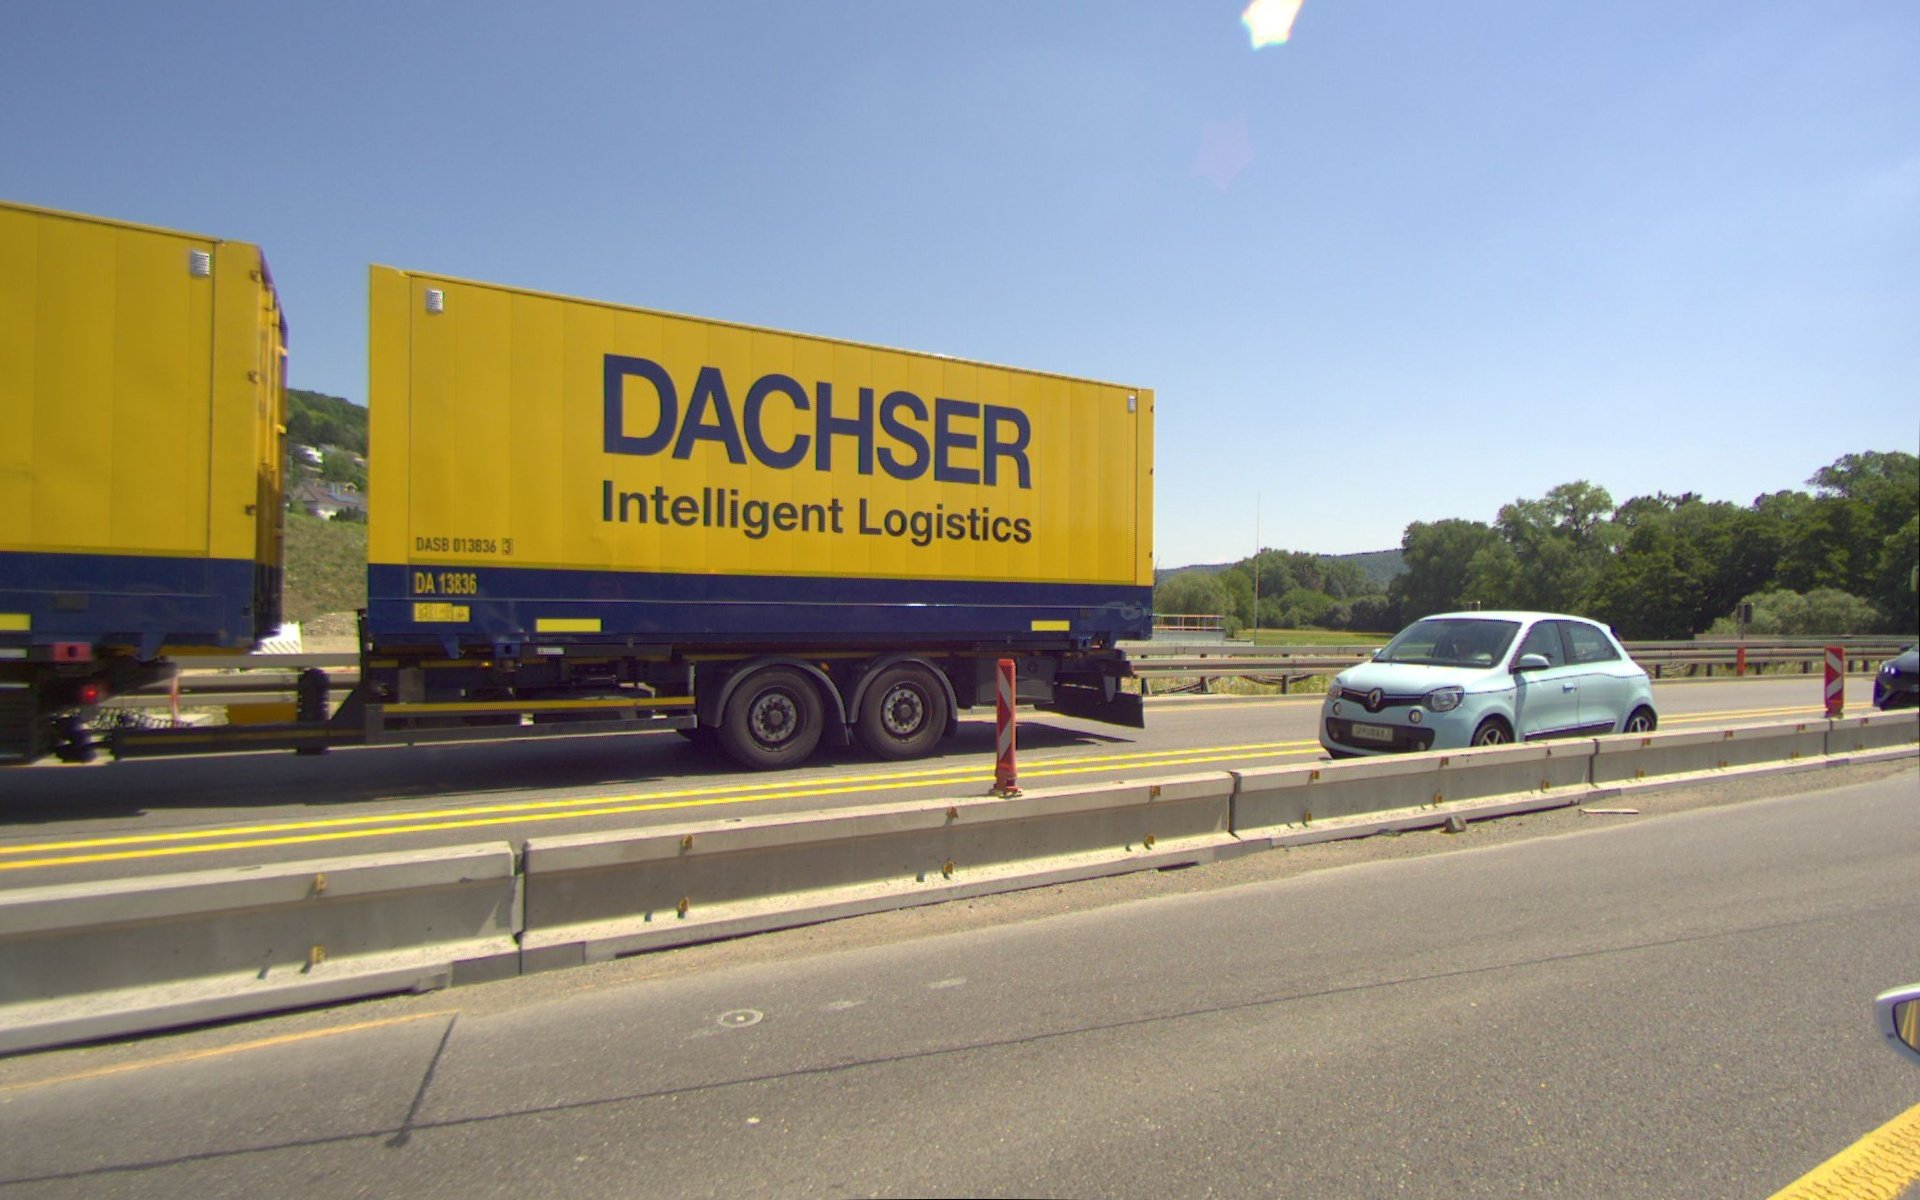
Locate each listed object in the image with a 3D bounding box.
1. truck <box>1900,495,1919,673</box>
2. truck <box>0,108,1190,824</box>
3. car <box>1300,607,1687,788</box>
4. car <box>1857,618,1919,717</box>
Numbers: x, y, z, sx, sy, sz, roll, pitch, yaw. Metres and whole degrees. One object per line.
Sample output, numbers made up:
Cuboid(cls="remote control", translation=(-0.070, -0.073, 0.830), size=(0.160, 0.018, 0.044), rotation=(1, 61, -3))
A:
Cuboid(cls="truck", translation=(25.868, -0.322, 24.407), size=(4.663, 4.327, 2.620), rotation=(2, 0, -22))
Cuboid(cls="truck", translation=(-4.694, -0.759, 8.528), size=(15.197, 4.400, 2.793), rotation=(2, -1, -31))
Cuboid(cls="car", translation=(5.430, 0.830, 10.126), size=(3.952, 1.505, 1.629), rotation=(0, 0, -30))
Cuboid(cls="car", translation=(16.290, 1.022, 15.738), size=(4.523, 1.454, 1.814), rotation=(1, 0, -27))
